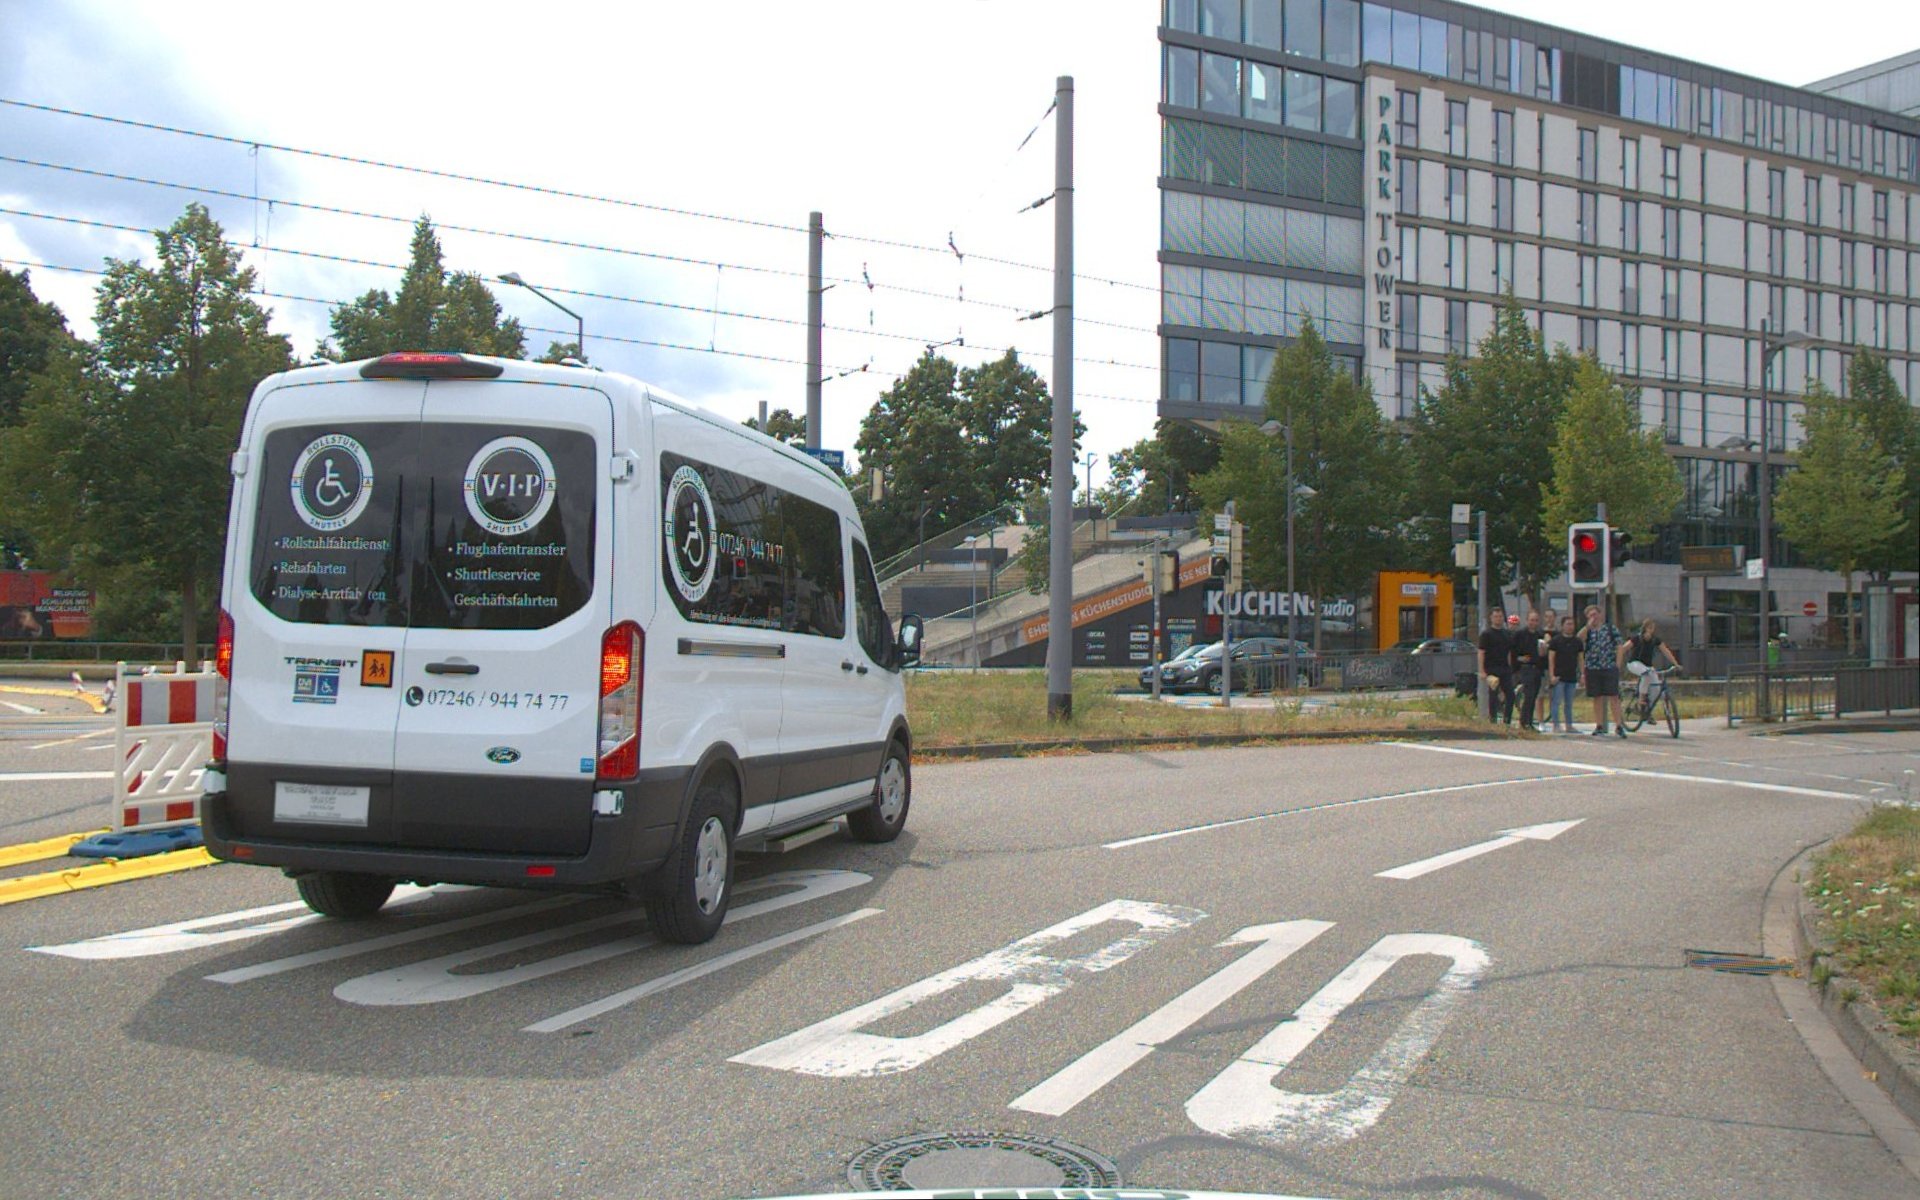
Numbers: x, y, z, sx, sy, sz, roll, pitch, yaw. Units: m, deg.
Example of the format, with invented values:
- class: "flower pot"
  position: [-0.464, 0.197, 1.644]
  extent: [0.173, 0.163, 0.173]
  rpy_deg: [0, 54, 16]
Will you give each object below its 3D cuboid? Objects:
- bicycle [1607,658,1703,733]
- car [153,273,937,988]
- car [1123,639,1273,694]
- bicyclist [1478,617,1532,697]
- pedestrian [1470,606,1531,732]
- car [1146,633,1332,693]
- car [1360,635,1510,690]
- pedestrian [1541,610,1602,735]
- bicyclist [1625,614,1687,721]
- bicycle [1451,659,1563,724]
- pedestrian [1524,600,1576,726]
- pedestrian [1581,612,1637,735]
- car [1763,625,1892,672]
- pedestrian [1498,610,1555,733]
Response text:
- class: "bicycle"
  position: [10.671, 1.450, 25.452]
  extent: [0.537, 1.077, 1.709]
  rpy_deg: [1, -1, -9]
- class: "car"
  position: [-1.719, 0.161, 9.313]
  extent: [2.081, 2.745, 5.636]
  rpy_deg: [0, -1, 11]
- class: "car"
  position: [6.822, 1.874, 47.304]
  extent: [3.939, 1.484, 1.833]
  rpy_deg: [1, -1, -27]
- class: "bicyclist"
  position: [9.353, 0.968, 28.388]
  extent: [0.635, 1.340, 0.664]
  rpy_deg: [2, -1, -42]
- class: "pedestrian"
  position: [7.935, 1.005, 24.295]
  extent: [0.682, 1.813, 0.547]
  rpy_deg: [1, -1, -34]
- class: "car"
  position: [7.340, 1.643, 43.425]
  extent: [4.666, 1.484, 1.833]
  rpy_deg: [1, -1, -27]
- class: "car"
  position: [13.544, 1.757, 47.149]
  extent: [3.938, 1.484, 1.833]
  rpy_deg: [1, -1, -26]
- class: "pedestrian"
  position: [9.019, 1.062, 24.398]
  extent: [0.682, 1.813, 0.547]
  rpy_deg: [1, -1, -34]
- class: "bicyclist"
  position: [10.690, 1.029, 25.407]
  extent: [0.548, 1.608, 0.764]
  rpy_deg: [1, -1, -10]
- class: "bicycle"
  position: [9.366, 1.550, 28.354]
  extent: [0.649, 1.024, 1.729]
  rpy_deg: [2, -1, -43]
- class: "pedestrian"
  position: [8.990, 0.954, 25.214]
  extent: [0.524, 1.895, 0.547]
  rpy_deg: [1, -1, -33]
- class: "pedestrian"
  position: [9.674, 1.085, 24.643]
  extent: [0.573, 1.813, 0.547]
  rpy_deg: [1, -1, -33]
- class: "car"
  position: [28.580, 1.594, 54.504]
  extent: [3.938, 1.484, 1.833]
  rpy_deg: [1, -1, -26]
- class: "pedestrian"
  position: [8.485, 1.063, 24.770]
  extent: [0.625, 1.813, 0.547]
  rpy_deg: [1, -1, -33]
